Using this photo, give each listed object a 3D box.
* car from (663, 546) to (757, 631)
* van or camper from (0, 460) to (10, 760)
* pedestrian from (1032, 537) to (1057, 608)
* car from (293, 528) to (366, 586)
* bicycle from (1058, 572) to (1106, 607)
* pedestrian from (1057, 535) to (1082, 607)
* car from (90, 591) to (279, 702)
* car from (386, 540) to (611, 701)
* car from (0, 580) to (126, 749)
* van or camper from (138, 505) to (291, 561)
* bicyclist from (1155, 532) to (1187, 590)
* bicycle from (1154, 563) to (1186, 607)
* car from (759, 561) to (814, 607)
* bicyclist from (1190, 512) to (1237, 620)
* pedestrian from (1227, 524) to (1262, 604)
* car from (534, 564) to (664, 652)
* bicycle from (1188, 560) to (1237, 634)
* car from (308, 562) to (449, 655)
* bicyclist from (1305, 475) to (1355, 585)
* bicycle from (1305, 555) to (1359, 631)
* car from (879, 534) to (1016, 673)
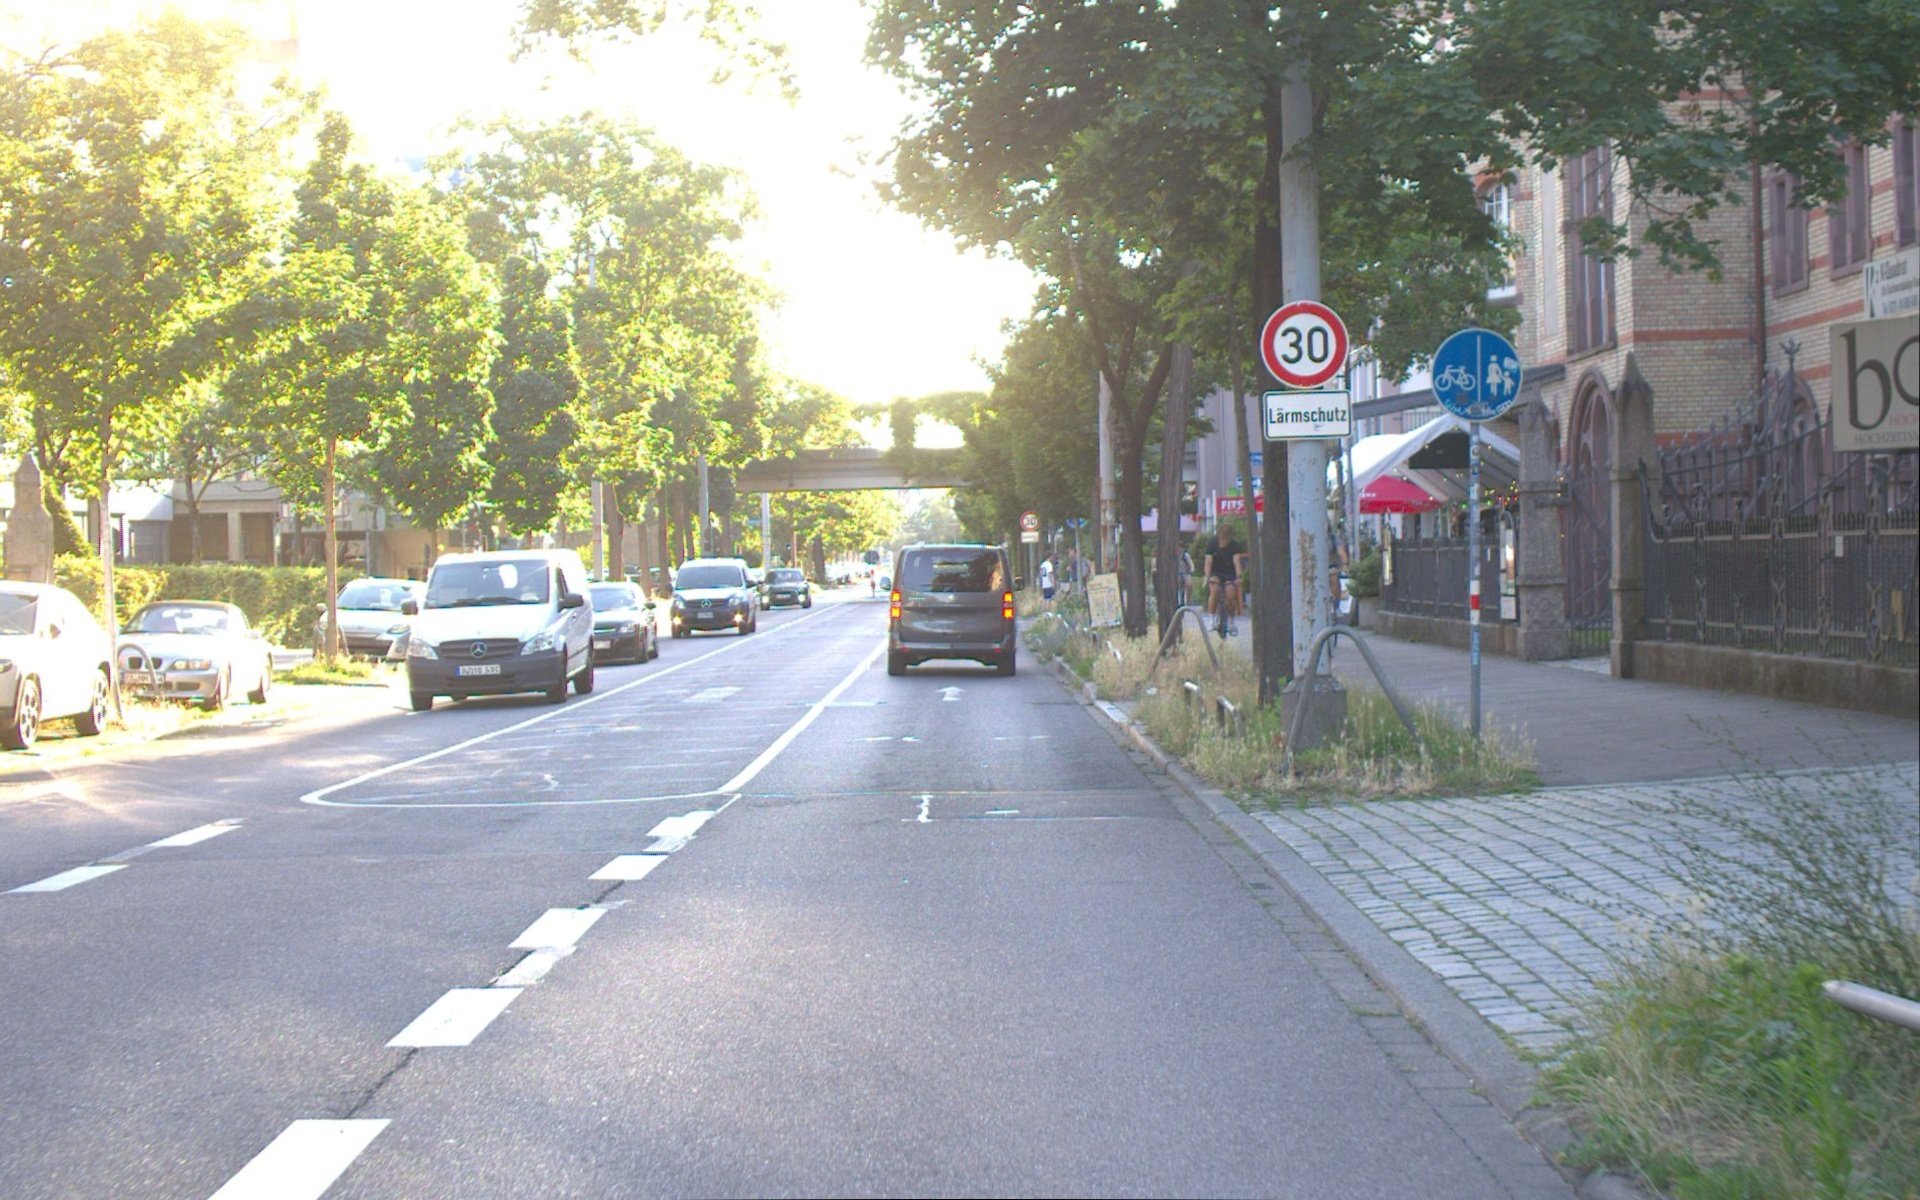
[{"bbox_3d":[-5.749,-0.291,79.469,1.833,1.846,4.474,-2,1,-1],"label":"car"},{"bbox_3d":[-9.332,0.127,27.881,1.993,2.659,6.039,0,1,-4],"label":"van or camper"},{"bbox_3d":[2.228,-0.726,90.962,0.504,1.882,0.545,0,1,-15],"label":"pedestrian"},{"bbox_3d":[-25.732,-1.768,140.443,1.993,2.300,5.245,0,1,0],"label":"car"},{"bbox_3d":[3.241,-0.293,91.330,0.588,0.894,1.988,0,1,-19],"label":"bicycle"},{"bbox_3d":[2.891,-0.758,90.509,0.504,1.882,0.545,0,1,-15],"label":"pedestrian"},{"bbox_3d":[-9.399,0.537,41.869,1.536,1.244,3.614,0,1,-1],"label":"car"},{"bbox_3d":[-5.720,0.197,43.246,1.993,1.825,5.169,-2,1,1],"label":"car"},{"bbox_3d":[-9.709,0.593,34.409,1.746,1.529,4.303,0,1,-1],"label":"car"},{"bbox_3d":[-34.357,-3.086,158.567,6.562,2.513,2.449,0,1,-1],"label":"van or camper"},{"bbox_3d":[4.459,-0.827,72.763,0.585,1.232,1.112,0,1,0],"label":"bicyclist"},{"bbox_3d":[4.442,-0.319,72.794,0.579,0.894,1.987,0,1,0],"label":"bicycle"},{"bbox_3d":[-6.140,-0.579,121.999,1.679,1.525,4.000,-3,1,0],"label":"car"},{"bbox_3d":[3.633,-0.489,49.394,0.595,1.527,0.893,0,1,0],"label":"bicyclist"},{"bbox_3d":[5.855,-0.737,70.732,0.644,1.627,0.656,0,1,0],"label":"pedestrian"},{"bbox_3d":[-6.295,0.115,60.300,1.759,1.381,4.305,-3,1,0],"label":"car"},{"bbox_3d":[3.623,-0.058,49.432,0.544,1.036,2.089,0,1,0],"label":"bicycle"},{"bbox_3d":[-9.544,0.108,56.686,1.697,1.446,4.000,0,1,-1],"label":"car"},{"bbox_3d":[5.232,-0.985,48.593,0.595,1.527,0.893,0,1,0],"label":"bicyclist"},{"bbox_3d":[5.238,-0.114,48.531,0.517,1.036,2.089,0,1,0],"label":"bicycle"},{"bbox_3d":[-0.154,0.013,50.765,1.887,1.918,3.839,-2,1,1],"label":"car"}]
